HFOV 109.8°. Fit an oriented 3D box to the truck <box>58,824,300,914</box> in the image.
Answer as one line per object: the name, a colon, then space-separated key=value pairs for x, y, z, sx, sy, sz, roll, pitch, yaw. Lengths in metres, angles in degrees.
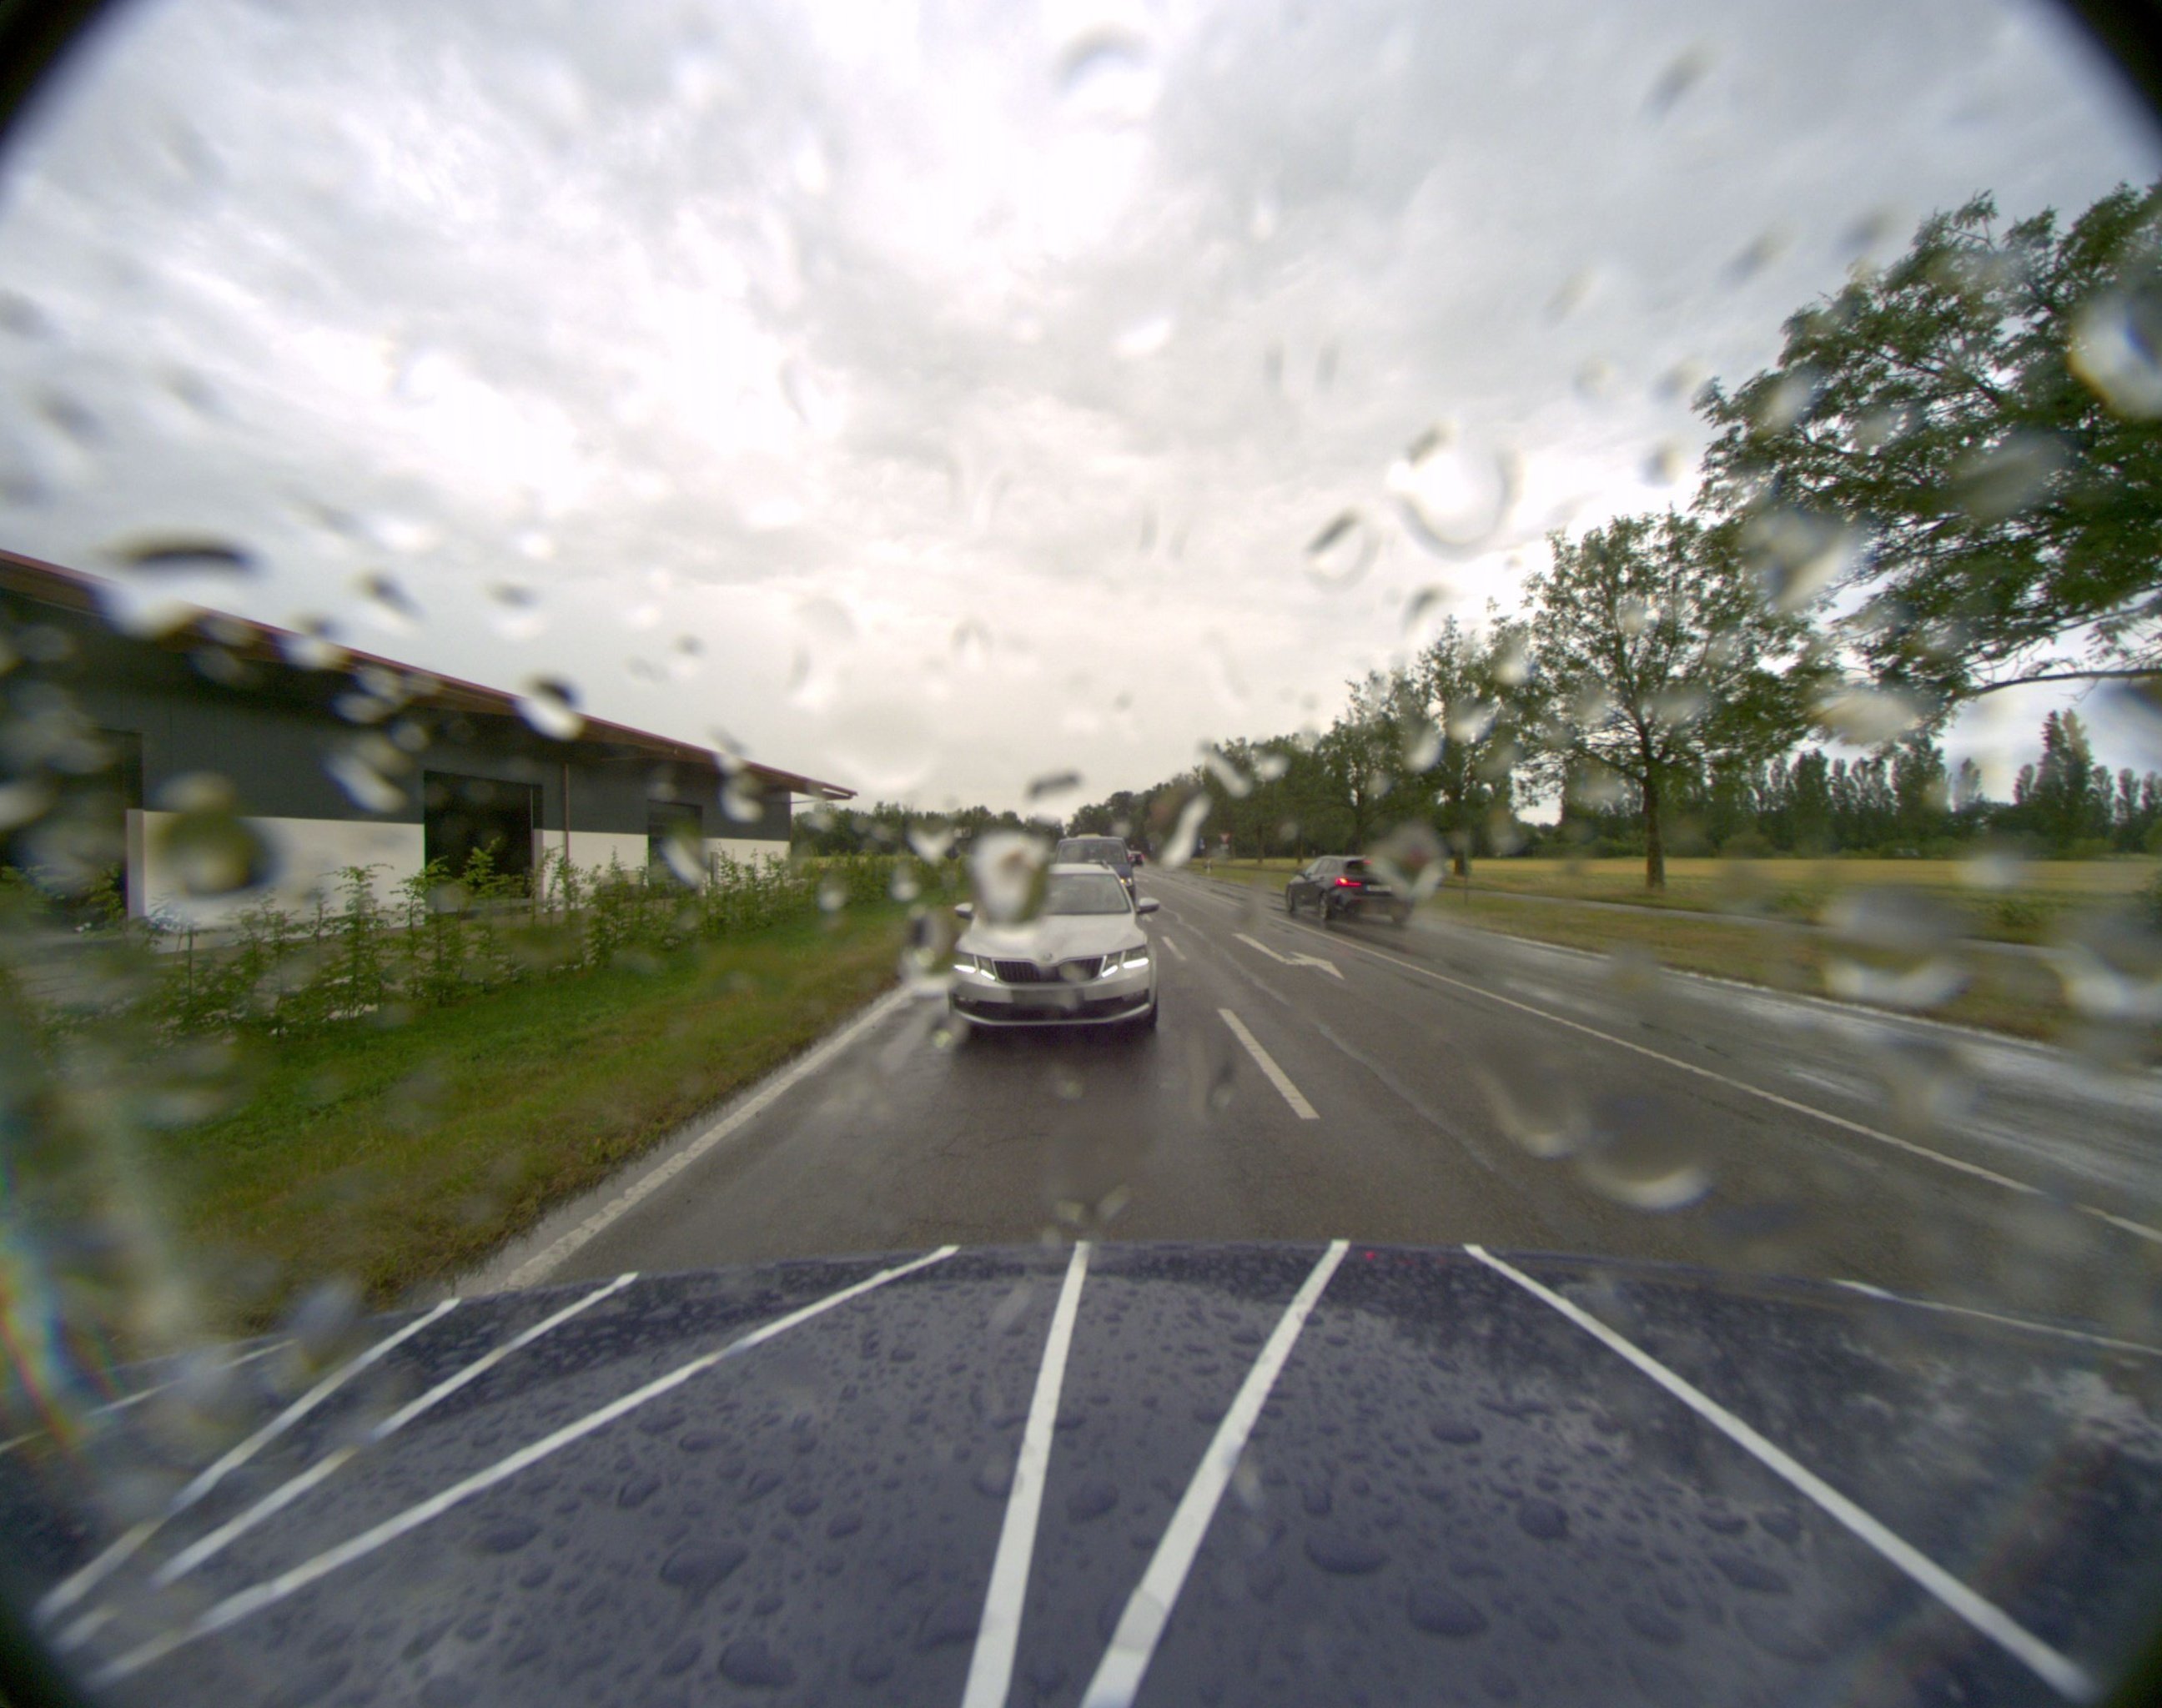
truck: x=-32.947 y=0.492 z=28.126 sx=2.496 sy=2.996 sz=5.343 roll=0 pitch=1 yaw=1

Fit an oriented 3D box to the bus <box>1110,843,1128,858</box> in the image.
bus: x=7.797 y=-0.712 z=155.556 sx=2.958 sy=2.895 sz=12.472 roll=0 pitch=1 yaw=0

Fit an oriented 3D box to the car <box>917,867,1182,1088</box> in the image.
car: x=-0.191 y=0.927 z=7.718 sx=1.843 sy=1.379 sz=4.568 roll=-2 pitch=1 yaw=1

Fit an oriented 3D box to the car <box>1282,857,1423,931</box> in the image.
car: x=5.965 y=0.804 z=17.241 sx=1.724 sy=1.396 sz=4.043 roll=1 pitch=1 yaw=0

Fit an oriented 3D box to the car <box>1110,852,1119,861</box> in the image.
car: x=5.707 y=0.443 z=130.099 sx=1.504 sy=1.521 sz=3.301 roll=1 pitch=1 yaw=2

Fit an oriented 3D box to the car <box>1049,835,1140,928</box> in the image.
car: x=0.319 y=0.550 z=17.900 sx=1.892 sy=1.939 sz=4.000 roll=0 pitch=1 yaw=1

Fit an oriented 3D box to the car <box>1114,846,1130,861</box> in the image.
car: x=5.413 y=-0.049 z=100.643 sx=1.921 sy=1.851 sz=4.684 roll=1 pitch=1 yaw=0

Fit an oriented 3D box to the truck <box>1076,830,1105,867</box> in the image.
truck: x=1.099 y=-0.649 z=86.707 sx=2.931 sy=3.829 sz=14.119 roll=0 pitch=1 yaw=1

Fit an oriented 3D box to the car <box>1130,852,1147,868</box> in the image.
car: x=6.334 y=0.641 z=84.155 sx=1.708 sy=1.661 sz=4.156 roll=1 pitch=1 yaw=2
